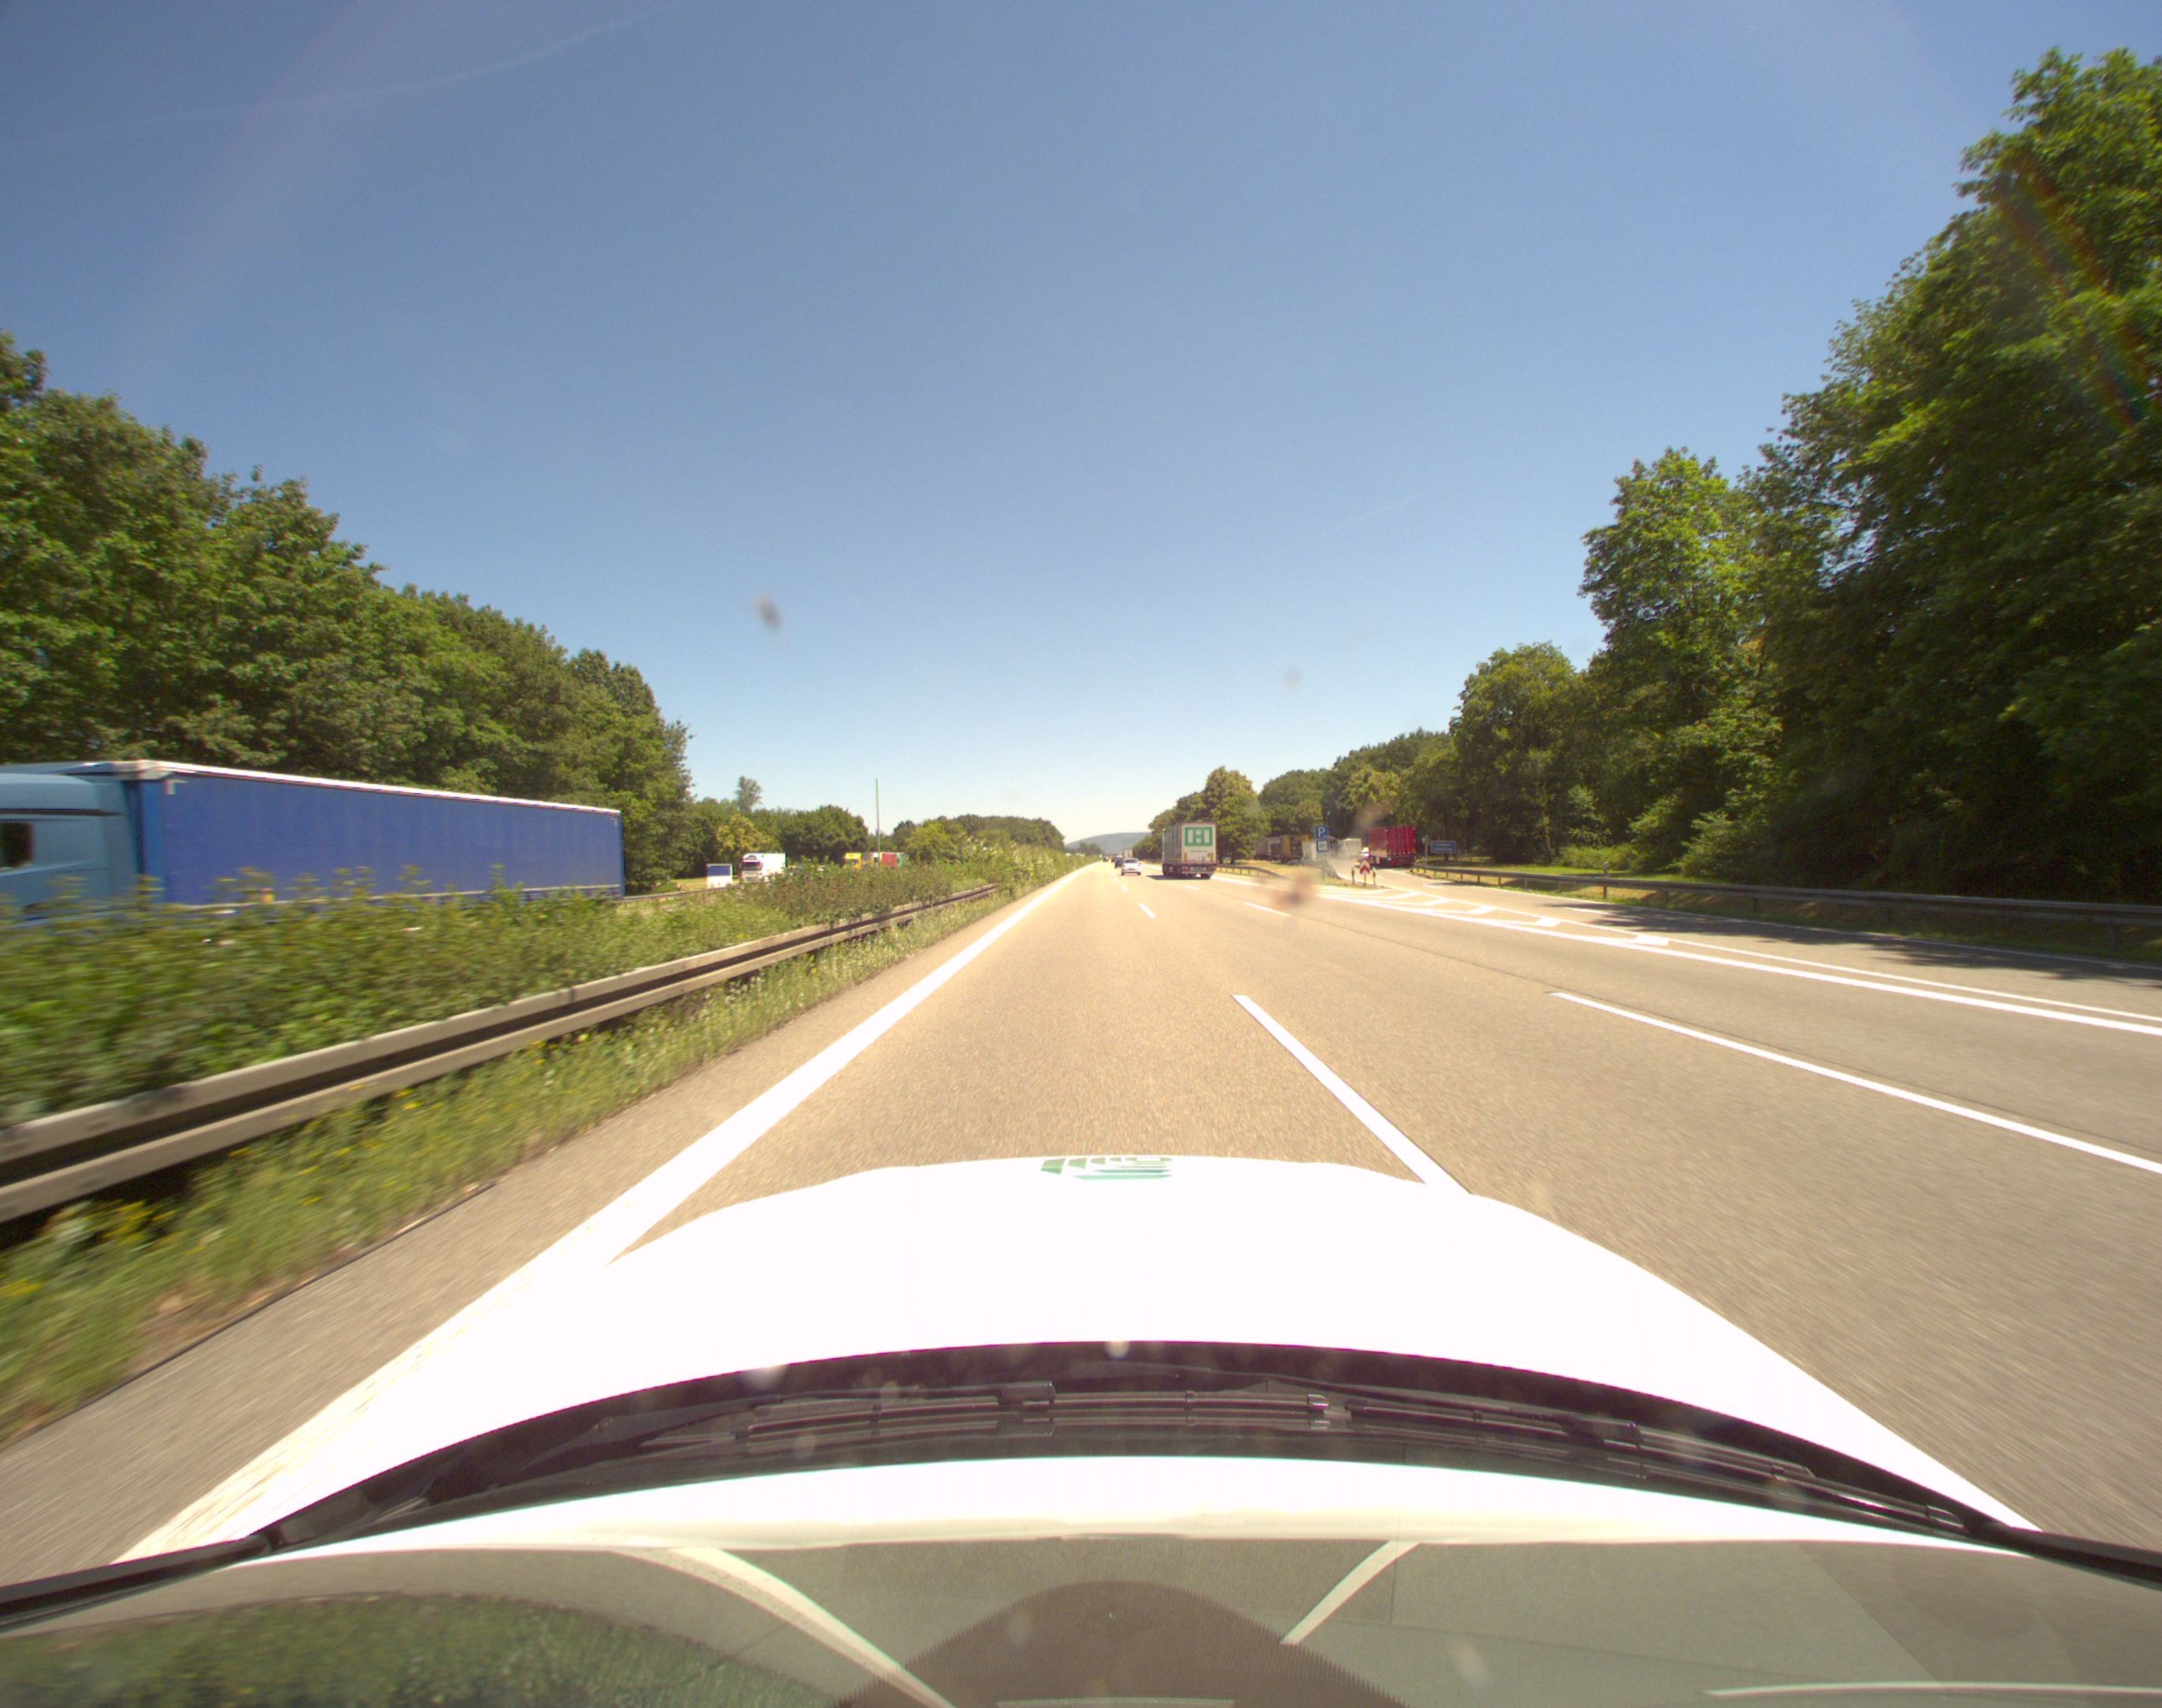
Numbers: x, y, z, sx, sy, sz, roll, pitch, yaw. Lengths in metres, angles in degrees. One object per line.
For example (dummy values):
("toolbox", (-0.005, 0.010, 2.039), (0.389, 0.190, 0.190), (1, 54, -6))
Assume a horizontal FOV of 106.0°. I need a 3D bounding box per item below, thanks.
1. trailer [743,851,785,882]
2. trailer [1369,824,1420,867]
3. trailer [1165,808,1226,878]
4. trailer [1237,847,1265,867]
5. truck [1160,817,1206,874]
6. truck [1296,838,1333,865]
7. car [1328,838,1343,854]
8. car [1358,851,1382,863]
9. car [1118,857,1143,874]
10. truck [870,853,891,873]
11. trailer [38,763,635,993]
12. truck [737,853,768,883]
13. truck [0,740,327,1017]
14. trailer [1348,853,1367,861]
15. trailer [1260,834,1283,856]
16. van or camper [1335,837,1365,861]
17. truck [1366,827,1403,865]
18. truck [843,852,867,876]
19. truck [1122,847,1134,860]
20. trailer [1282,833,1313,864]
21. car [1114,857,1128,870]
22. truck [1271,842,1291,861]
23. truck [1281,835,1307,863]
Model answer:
("trailer", (-43.801, 1.637, 112.904), (2.609, 3.971, 12.564), (-2, 0, -9))
("trailer", (31.077, -0.818, 81.244), (2.958, 3.878, 12.936), (-2, 0, 14))
("trailer", (8.369, -0.733, 61.218), (3.170, 4.627, 12.054), (-1, 0, 2))
("trailer", (35.109, 0.572, 169.046), (3.123, 3.952, 14.201), (-2, 0, 2))
("truck", (8.604, -0.681, 69.155), (3.170, 4.607, 5.949), (-2, 0, 1))
("truck", (26.752, -0.233, 93.688), (2.457, 2.946, 7.667), (-1, 0, 4))
("car", (41.132, -1.313, 131.562), (1.979, 2.439, 4.797), (-2, 0, 14))
("car", (36.183, 0.343, 102.078), (1.981, 1.451, 5.049), (-2, 0, 11))
("car", (4.399, 1.040, 73.051), (1.808, 1.405, 3.312), (-1, 0, -5))
("truck", (-40.953, 1.827, 166.679), (2.605, 3.971, 9.983), (-2, 0, -5))
("trailer", (-16.919, 0.455, 21.276), (2.833, 3.971, 13.805), (-2, 0, 0))
("truck", (-42.729, 1.788, 106.083), (2.609, 3.768, 4.676), (-2, 0, -9))
("truck", (-16.928, 0.397, 13.775), (2.808, 3.971, 5.871), (-2, 0, 0))
("trailer", (37.020, 0.434, 109.080), (1.764, 0.958, 4.012), (-2, 0, 11))
("trailer", (34.598, -1.476, 148.287), (3.084, 3.790, 13.394), (0, 0, 8))
("van or camper", (38.630, -0.691, 117.138), (2.980, 3.235, 7.019), (-2, 0, 10))
("truck", (32.866, -0.860, 88.483), (2.958, 3.881, 6.442), (-2, 0, 14))
("truck", (-40.134, 1.724, 145.039), (2.607, 3.971, 9.975), (-2, 0, -7))
("truck", (13.798, -0.201, 240.746), (3.312, 3.756, 12.803), (0, 0, 2))
("trailer", (29.493, -0.681, 111.317), (3.164, 3.935, 11.584), (-1, 0, 11))
("car", (5.973, 1.446, 121.502), (1.888, 1.892, 4.005), (-2, -1, 5))
("truck", (33.141, -0.431, 135.238), (2.454, 3.086, 6.631), (0, 0, 8))
("truck", (30.867, -0.689, 118.375), (3.164, 3.935, 6.636), (-1, 0, 11))
